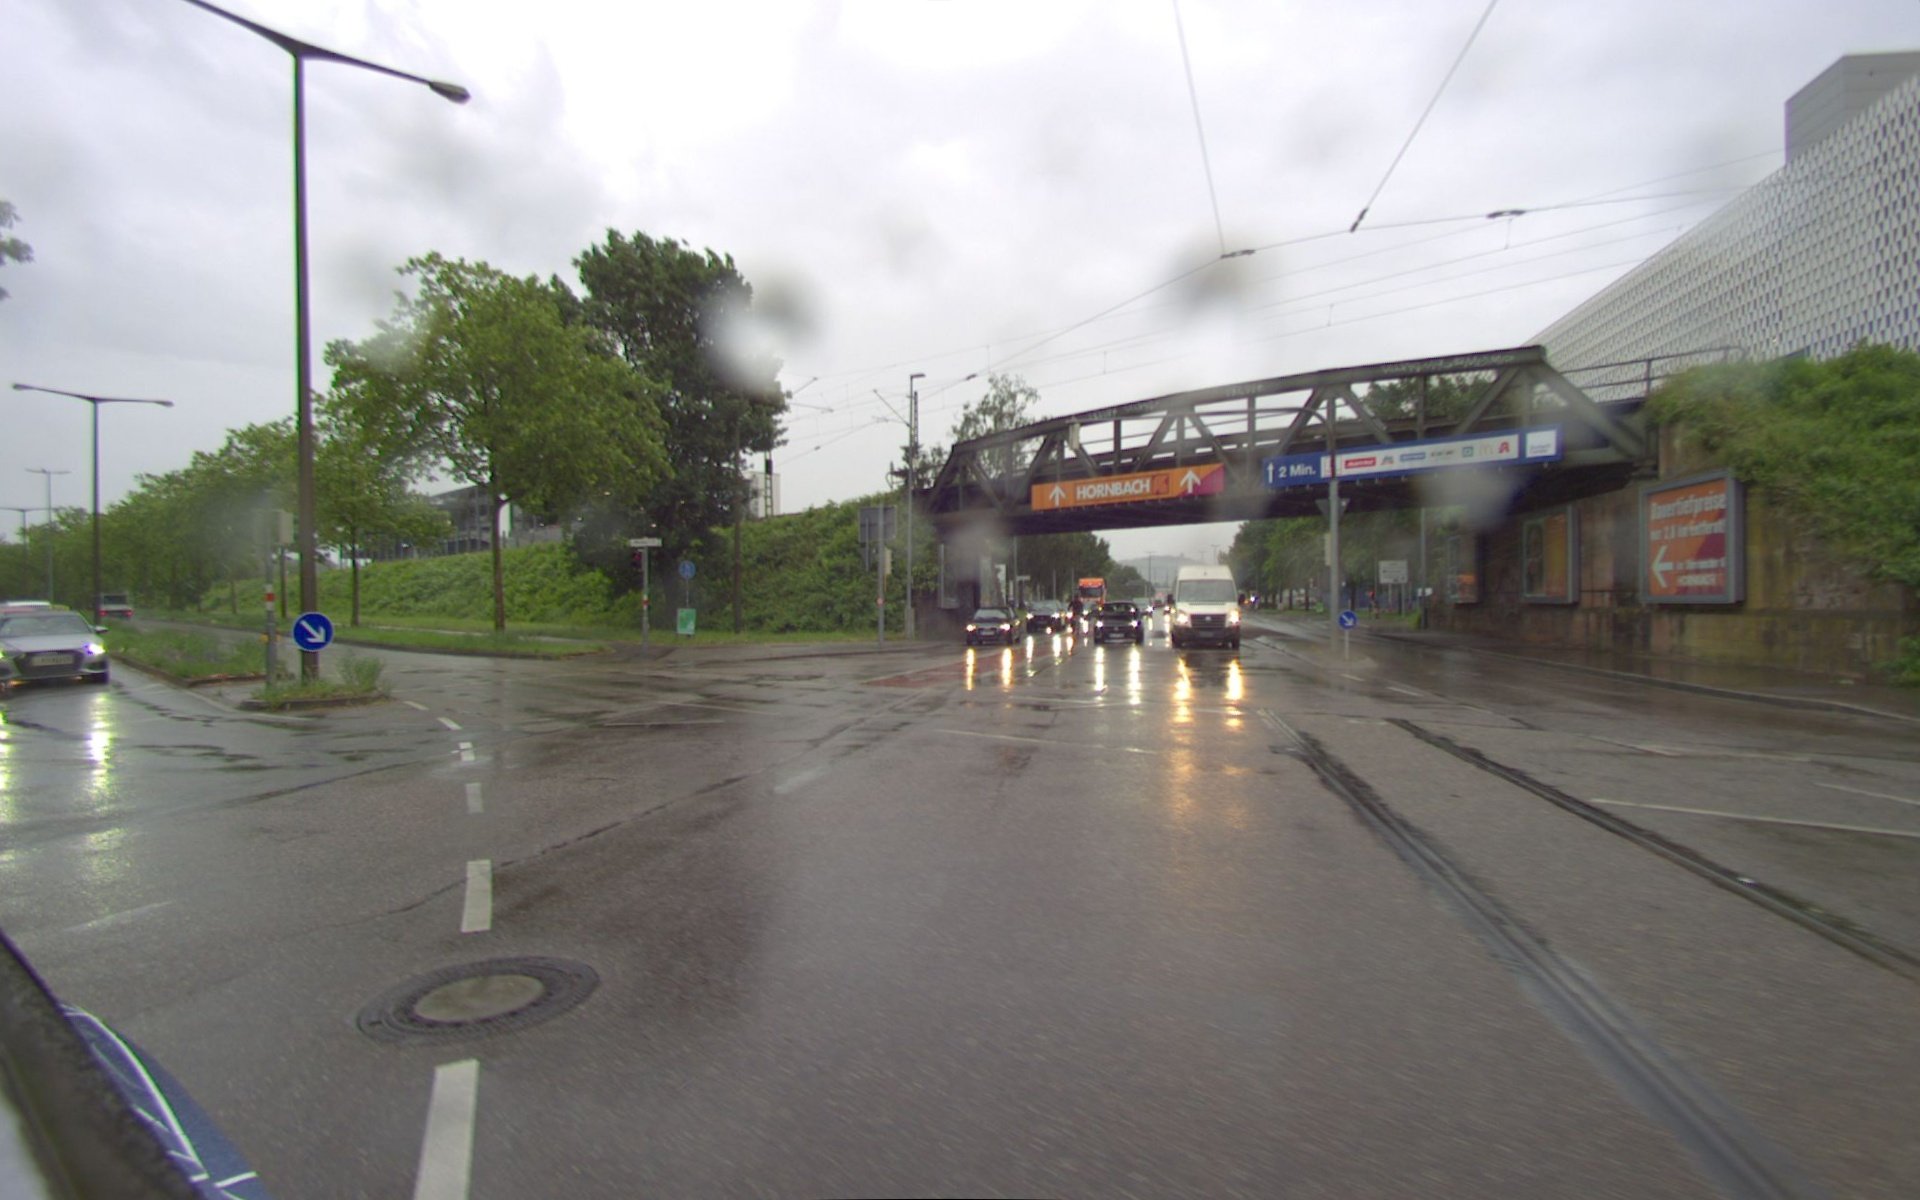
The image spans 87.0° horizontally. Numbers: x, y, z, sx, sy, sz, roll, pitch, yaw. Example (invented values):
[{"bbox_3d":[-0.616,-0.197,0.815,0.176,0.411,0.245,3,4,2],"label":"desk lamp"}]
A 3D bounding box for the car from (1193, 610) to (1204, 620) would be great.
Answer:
[{"bbox_3d":[42.215,2.680,179.085,1.637,1.612,3.897,0,0,10],"label":"car"}]

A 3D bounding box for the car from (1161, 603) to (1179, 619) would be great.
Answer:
[{"bbox_3d":[20.962,1.071,101.142,1.637,1.612,3.897,0,0,10],"label":"car"}]

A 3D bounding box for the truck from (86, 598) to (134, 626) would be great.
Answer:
[{"bbox_3d":[-73.534,1.002,87.517,6.868,2.383,2.447,0,0,43],"label":"truck"}]

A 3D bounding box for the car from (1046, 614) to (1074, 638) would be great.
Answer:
[{"bbox_3d":[6.448,1.673,65.082,1.673,1.445,4.137,-1,-1,8],"label":"car"}]

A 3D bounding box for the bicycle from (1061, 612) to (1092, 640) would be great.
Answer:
[{"bbox_3d":[5.362,1.190,46.496,1.187,1.213,3.438,0,0,10],"label":"bicycle"}]

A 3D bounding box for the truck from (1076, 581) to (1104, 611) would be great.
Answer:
[{"bbox_3d":[13.143,-0.419,102.126,2.523,2.847,8.166,-3,0,8],"label":"truck"}]

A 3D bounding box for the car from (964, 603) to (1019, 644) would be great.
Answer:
[{"bbox_3d":[1.240,0.876,38.370,1.673,1.445,4.137,-1,-1,8],"label":"car"}]

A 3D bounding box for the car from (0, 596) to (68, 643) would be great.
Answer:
[{"bbox_3d":[-35.460,0.724,38.614,1.806,1.624,4.149,-3,2,-45],"label":"car"}]

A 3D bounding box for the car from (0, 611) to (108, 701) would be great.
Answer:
[{"bbox_3d":[-18.946,1.061,20.807,1.749,1.586,4.823,-3,2,-45],"label":"car"}]

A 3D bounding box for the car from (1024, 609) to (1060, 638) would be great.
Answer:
[{"bbox_3d":[4.410,1.214,54.170,1.673,1.445,4.137,-1,-1,8],"label":"car"}]

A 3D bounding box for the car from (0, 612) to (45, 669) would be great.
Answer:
[{"bbox_3d":[-25.432,1.051,26.661,4.012,1.387,1.660,-1,2,44],"label":"car"}]

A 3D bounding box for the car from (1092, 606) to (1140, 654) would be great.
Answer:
[{"bbox_3d":[5.667,1.040,36.485,1.637,1.612,3.897,0,0,10],"label":"car"}]

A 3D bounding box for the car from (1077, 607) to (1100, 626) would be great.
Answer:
[{"bbox_3d":[9.937,1.265,78.223,1.673,1.445,4.137,-1,-1,8],"label":"car"}]

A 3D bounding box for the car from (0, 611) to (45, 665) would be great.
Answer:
[{"bbox_3d":[-28.646,1.108,30.277,1.700,1.476,4.095,-3,2,-44],"label":"car"}]

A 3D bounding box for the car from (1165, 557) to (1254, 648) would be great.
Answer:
[{"bbox_3d":[7.974,0.086,32.970,2.361,2.630,6.955,0,0,10],"label":"car"}]

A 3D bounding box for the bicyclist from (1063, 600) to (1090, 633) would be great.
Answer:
[{"bbox_3d":[5.361,0.771,46.499,1.140,1.495,1.053,0,-1,11],"label":"bicyclist"}]
